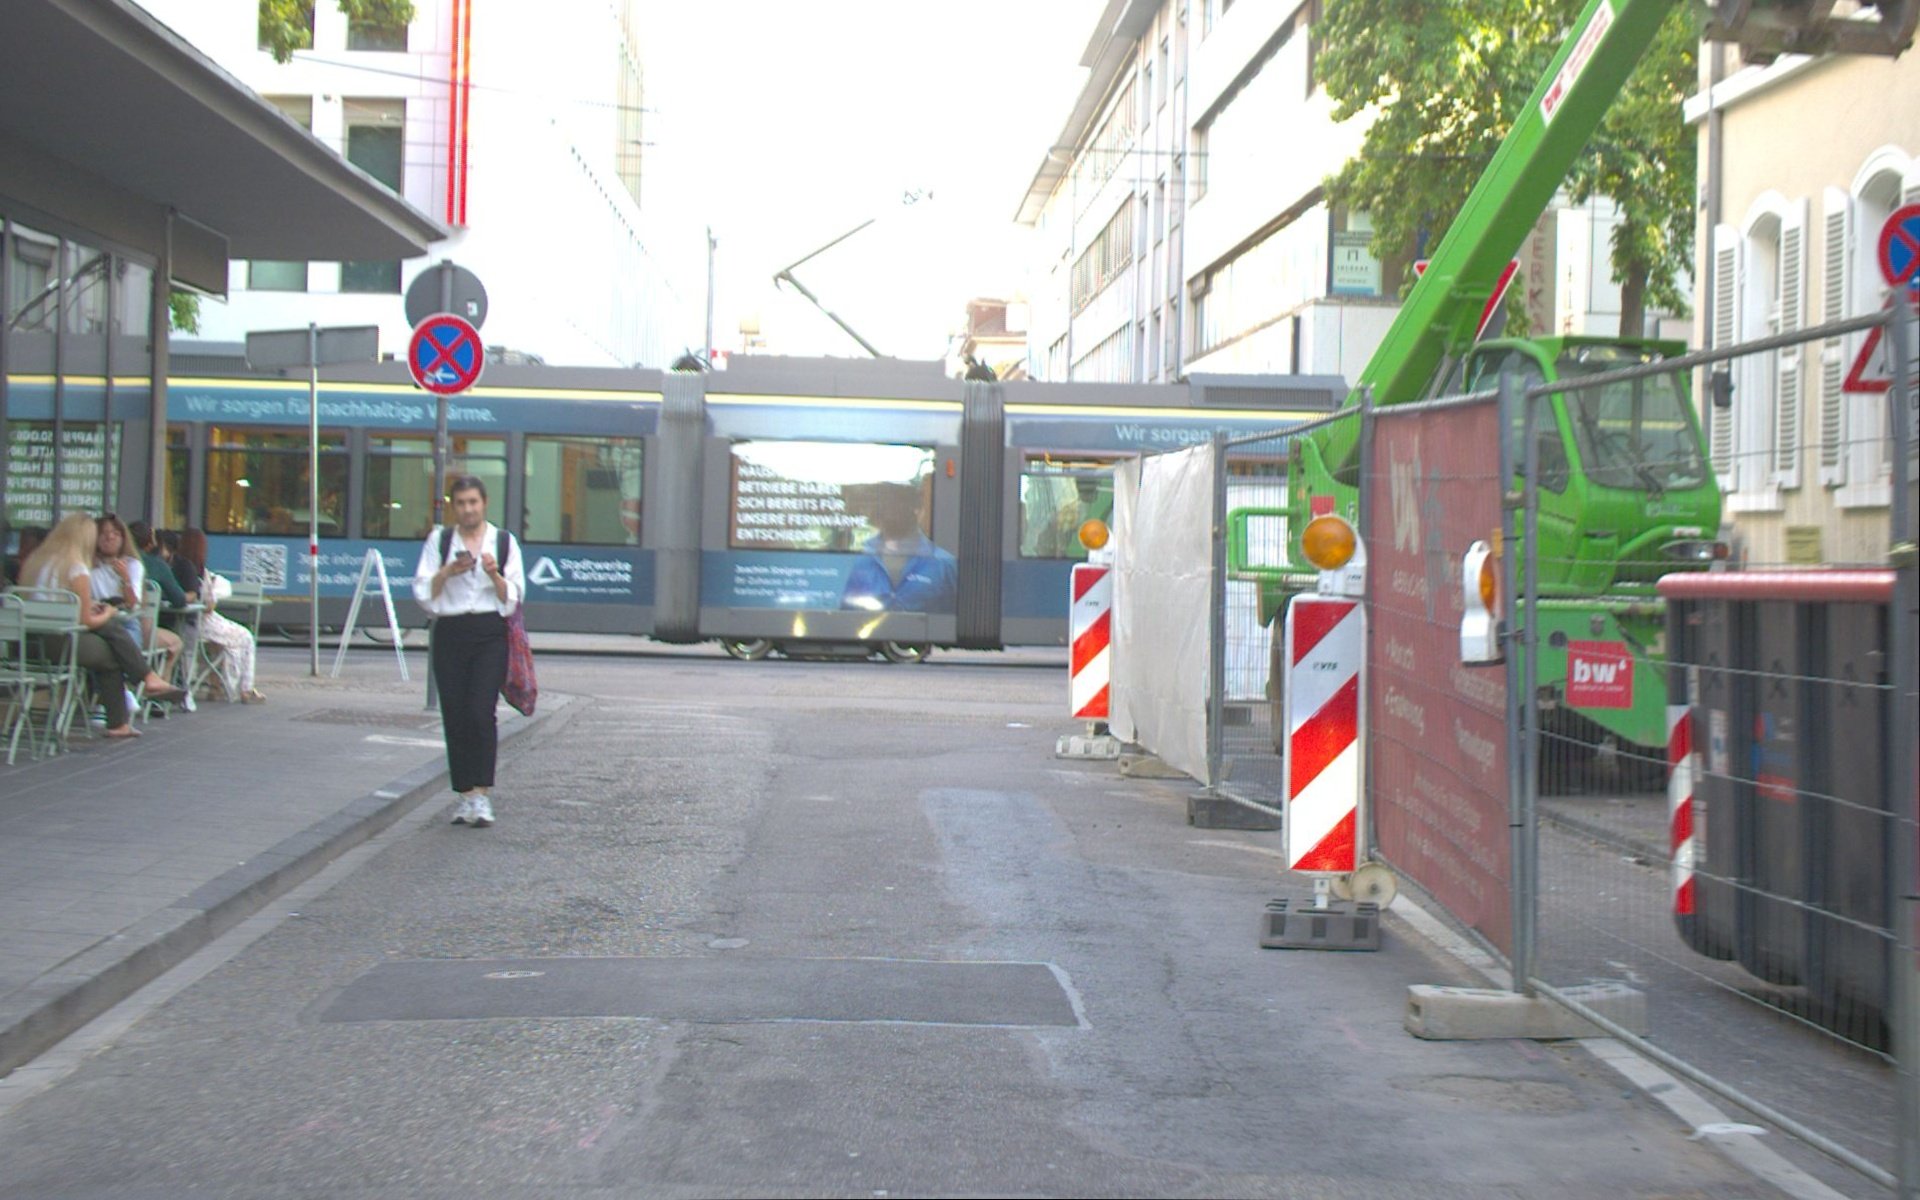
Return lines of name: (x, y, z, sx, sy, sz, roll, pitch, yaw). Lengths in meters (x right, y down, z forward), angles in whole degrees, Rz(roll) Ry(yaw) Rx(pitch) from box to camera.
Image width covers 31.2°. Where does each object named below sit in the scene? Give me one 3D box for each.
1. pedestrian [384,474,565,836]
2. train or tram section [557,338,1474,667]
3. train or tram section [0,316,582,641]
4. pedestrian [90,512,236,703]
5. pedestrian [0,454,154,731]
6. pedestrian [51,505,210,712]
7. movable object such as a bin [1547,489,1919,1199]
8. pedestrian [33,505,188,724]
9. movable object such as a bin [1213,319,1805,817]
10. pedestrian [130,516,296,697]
pedestrian: (-2.374, 0.257, 16.881, 0.756, 1.733, 0.785, -1, 1, 0)
train or tram section: (0.594, -1.110, 40.468, 10.335, 3.511, 3.027, 1, 0, -2)
train or tram section: (-9.761, -1.411, 40.120, 10.366, 3.512, 3.017, 1, 0, -2)
pedestrian: (-5.263, 0.043, 22.730, 0.704, 1.191, 0.691, 5, 1, 1)
pedestrian: (-5.173, -0.051, 19.872, 0.704, 1.542, 0.861, 2, 1, 6)
pedestrian: (-5.266, 0.047, 21.864, 0.704, 1.235, 0.778, 5, 1, 1)
movable object such as a bin: (3.674, 0.585, 8.223, 2.890, 1.659, 7.295, 1, 2, -3)
pedestrian: (-5.161, 0.083, 20.857, 0.704, 1.281, 0.861, 2, 1, -26)
movable object such as a bin: (3.406, -0.239, 22.794, 2.635, 2.863, 5.566, 1, 1, -4)
pedestrian: (-5.217, 0.042, 24.029, 0.705, 1.215, 0.840, 3, 1, 35)
